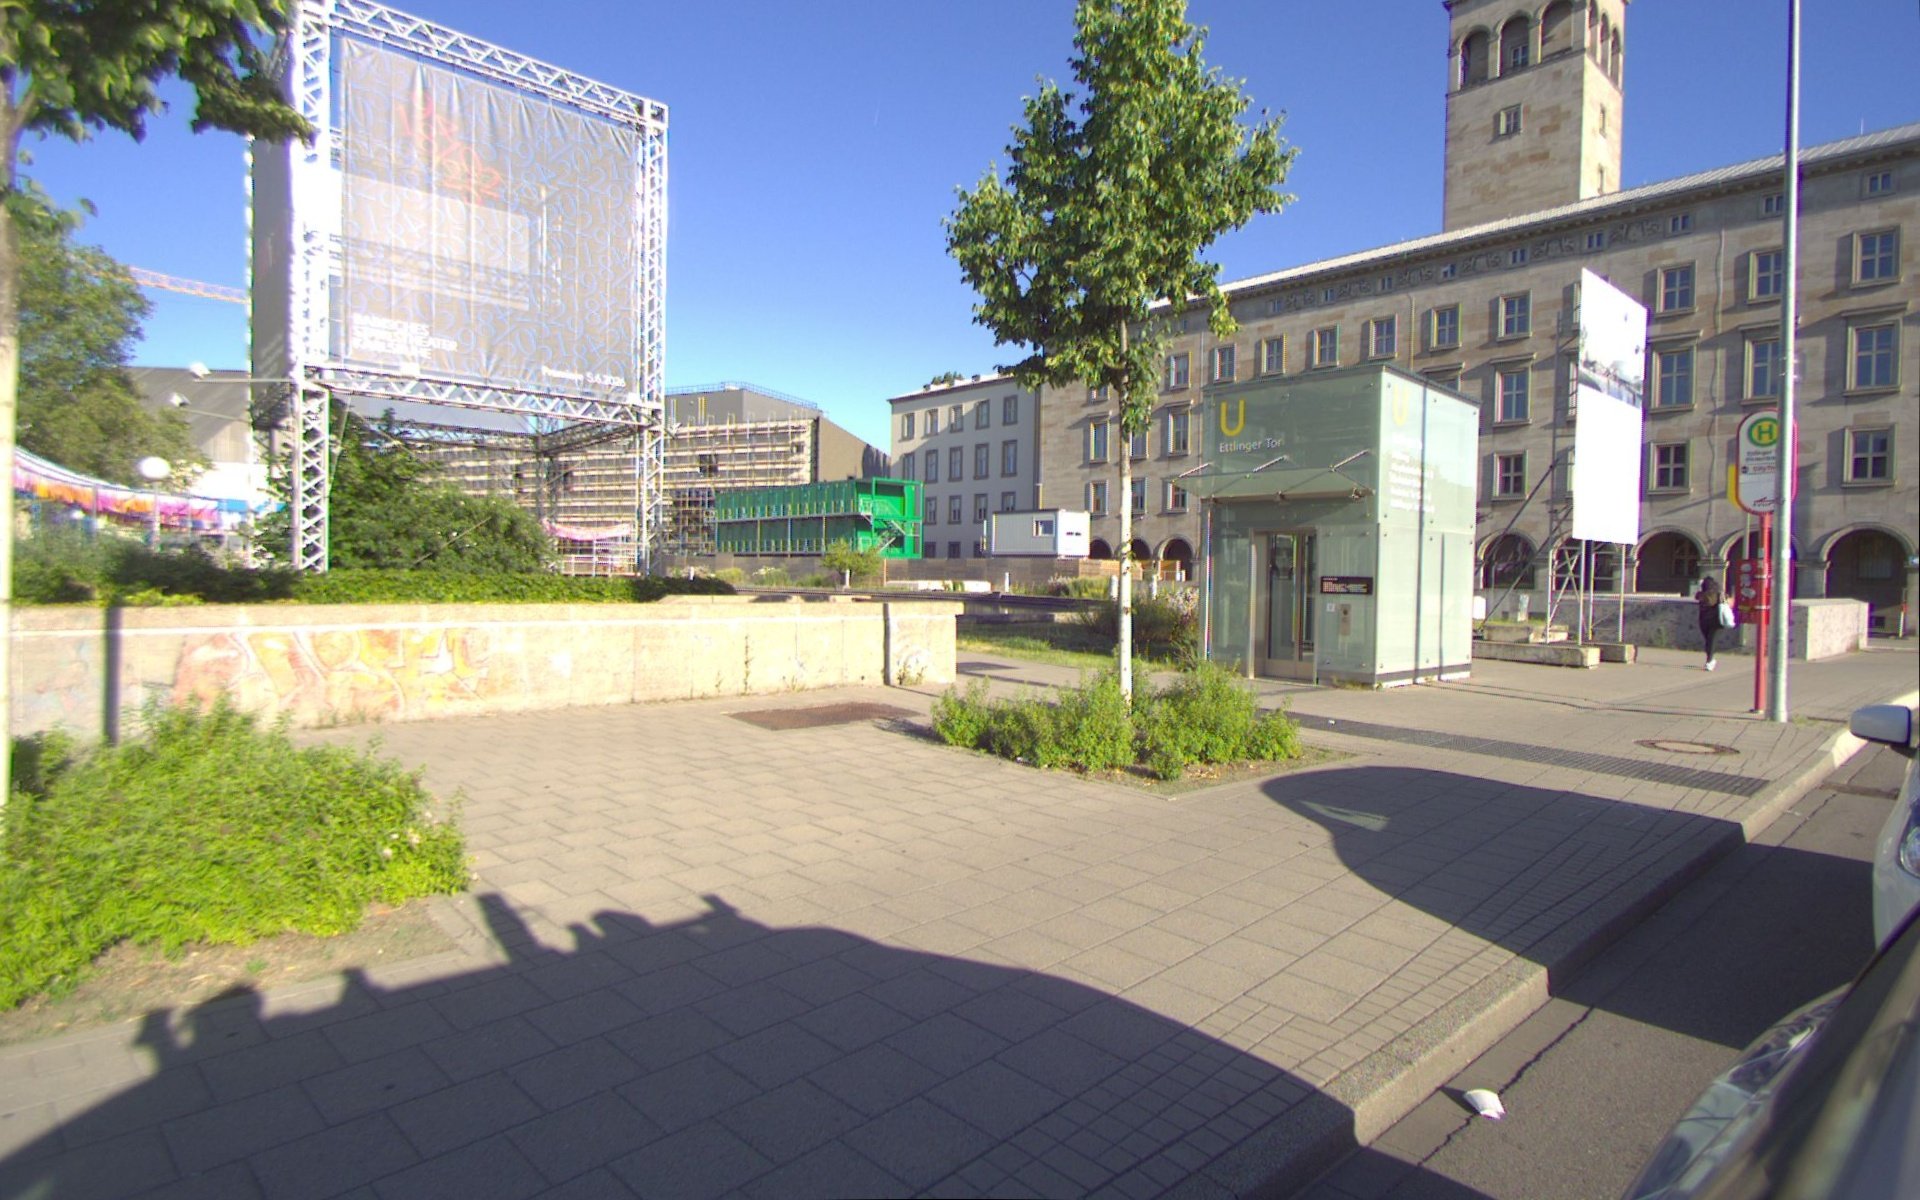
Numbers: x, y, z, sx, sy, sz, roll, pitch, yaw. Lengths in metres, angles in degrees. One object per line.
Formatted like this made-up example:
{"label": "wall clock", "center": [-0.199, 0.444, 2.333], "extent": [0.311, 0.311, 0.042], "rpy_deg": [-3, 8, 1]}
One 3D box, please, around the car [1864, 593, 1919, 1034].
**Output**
{"label": "car", "center": [5.072, 0.708, 4.128], "extent": [3.822, 1.467, 1.676], "rpy_deg": [0, 0, -42]}

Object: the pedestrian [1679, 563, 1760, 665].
{"label": "pedestrian", "center": [14.156, 0.233, 18.866], "extent": [1.053, 1.808, 0.942], "rpy_deg": [0, 2, -41]}
